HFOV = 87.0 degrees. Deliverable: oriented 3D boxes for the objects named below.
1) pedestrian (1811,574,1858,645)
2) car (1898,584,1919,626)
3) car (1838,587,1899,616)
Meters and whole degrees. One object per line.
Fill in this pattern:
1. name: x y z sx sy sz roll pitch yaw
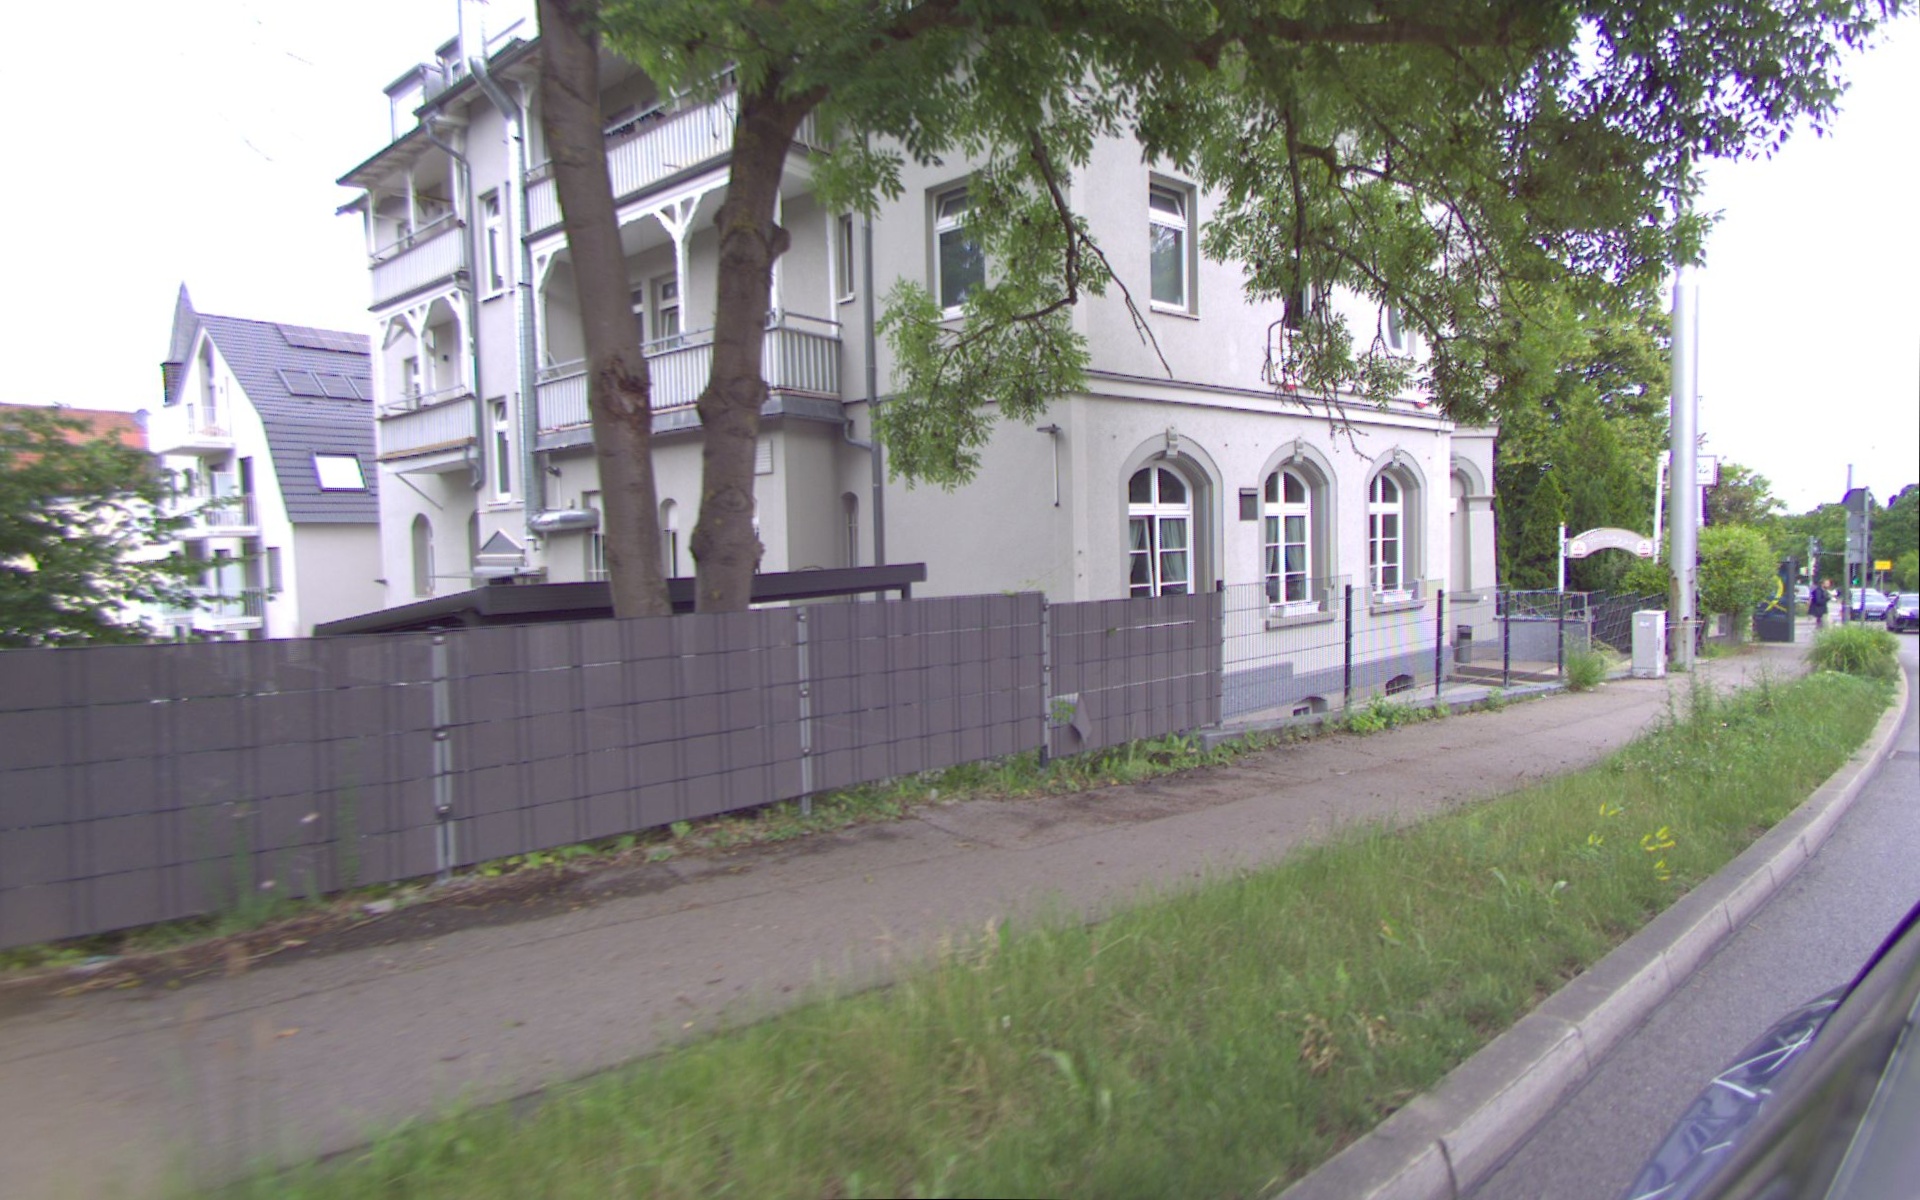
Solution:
1. pedestrian: 23.292 0.244 26.977 0.683 1.857 0.619 -1 0 7
2. car: 37.428 0.179 38.915 1.671 1.560 4.550 2 2 39
3. car: 47.583 0.034 53.079 1.796 1.411 4.232 1 1 34
